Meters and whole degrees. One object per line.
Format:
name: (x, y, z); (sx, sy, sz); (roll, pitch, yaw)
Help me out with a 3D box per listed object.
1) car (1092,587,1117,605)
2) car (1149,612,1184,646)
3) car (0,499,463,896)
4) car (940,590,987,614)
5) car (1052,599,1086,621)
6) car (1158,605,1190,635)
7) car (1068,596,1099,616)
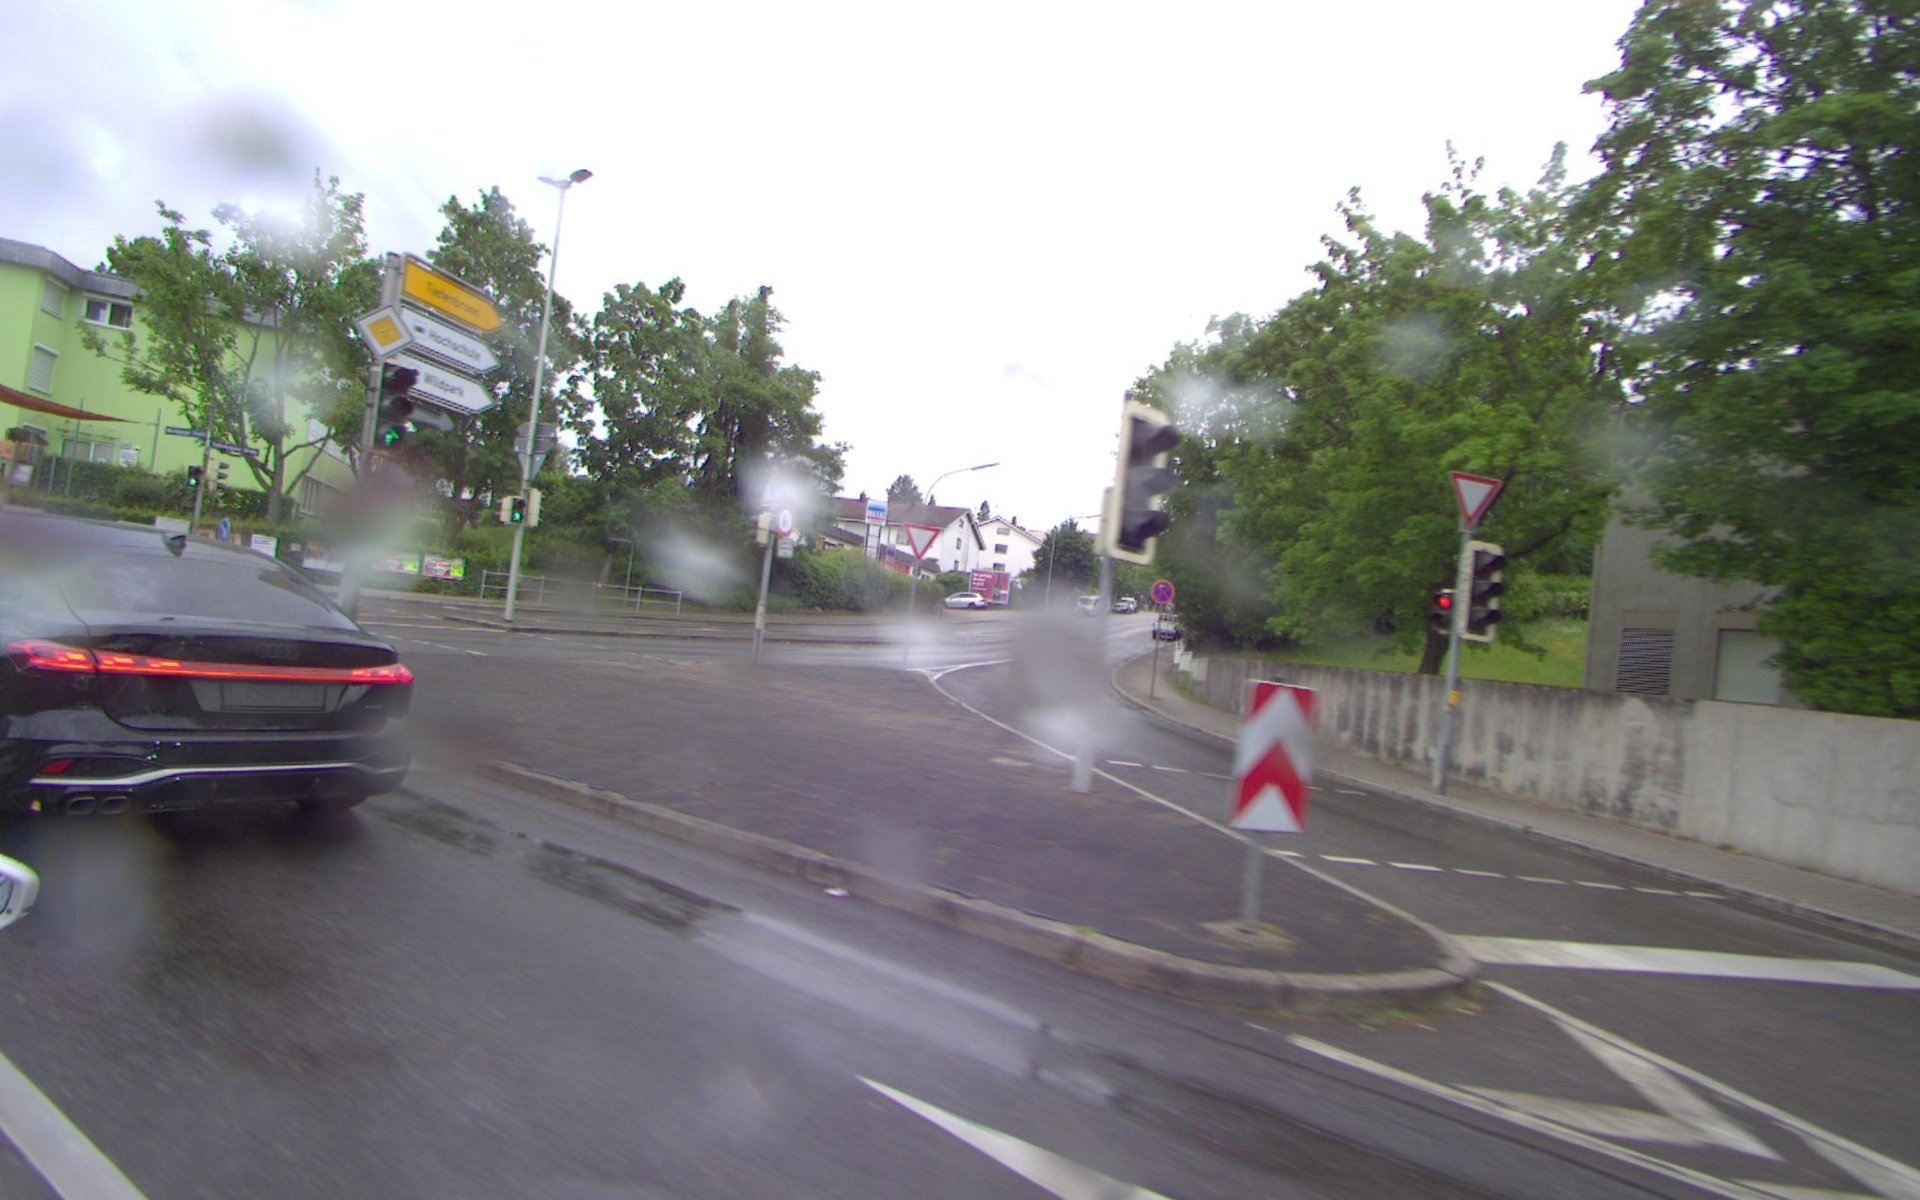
car: (17.088, -0.484, 118.550); (1.963, 1.748, 3.995); (12, 4, 18)
car: (14.587, 2.035, 70.888); (1.963, 1.685, 3.993); (12, 6, 13)
car: (-4.963, 0.227, 5.560); (4.432, 1.443, 1.710); (7, -1, 31)
car: (0.306, 0.200, 86.051); (3.650, 1.838, 1.841); (2, -1, 13)
car: (9.902, 0.866, 91.112); (1.963, 1.528, 3.995); (12, 4, 18)
car: (16.488, 1.497, 77.398); (1.963, 1.685, 3.993); (12, 6, 13)
car: (11.840, 0.519, 96.368); (1.963, 1.497, 3.995); (12, 4, 18)
